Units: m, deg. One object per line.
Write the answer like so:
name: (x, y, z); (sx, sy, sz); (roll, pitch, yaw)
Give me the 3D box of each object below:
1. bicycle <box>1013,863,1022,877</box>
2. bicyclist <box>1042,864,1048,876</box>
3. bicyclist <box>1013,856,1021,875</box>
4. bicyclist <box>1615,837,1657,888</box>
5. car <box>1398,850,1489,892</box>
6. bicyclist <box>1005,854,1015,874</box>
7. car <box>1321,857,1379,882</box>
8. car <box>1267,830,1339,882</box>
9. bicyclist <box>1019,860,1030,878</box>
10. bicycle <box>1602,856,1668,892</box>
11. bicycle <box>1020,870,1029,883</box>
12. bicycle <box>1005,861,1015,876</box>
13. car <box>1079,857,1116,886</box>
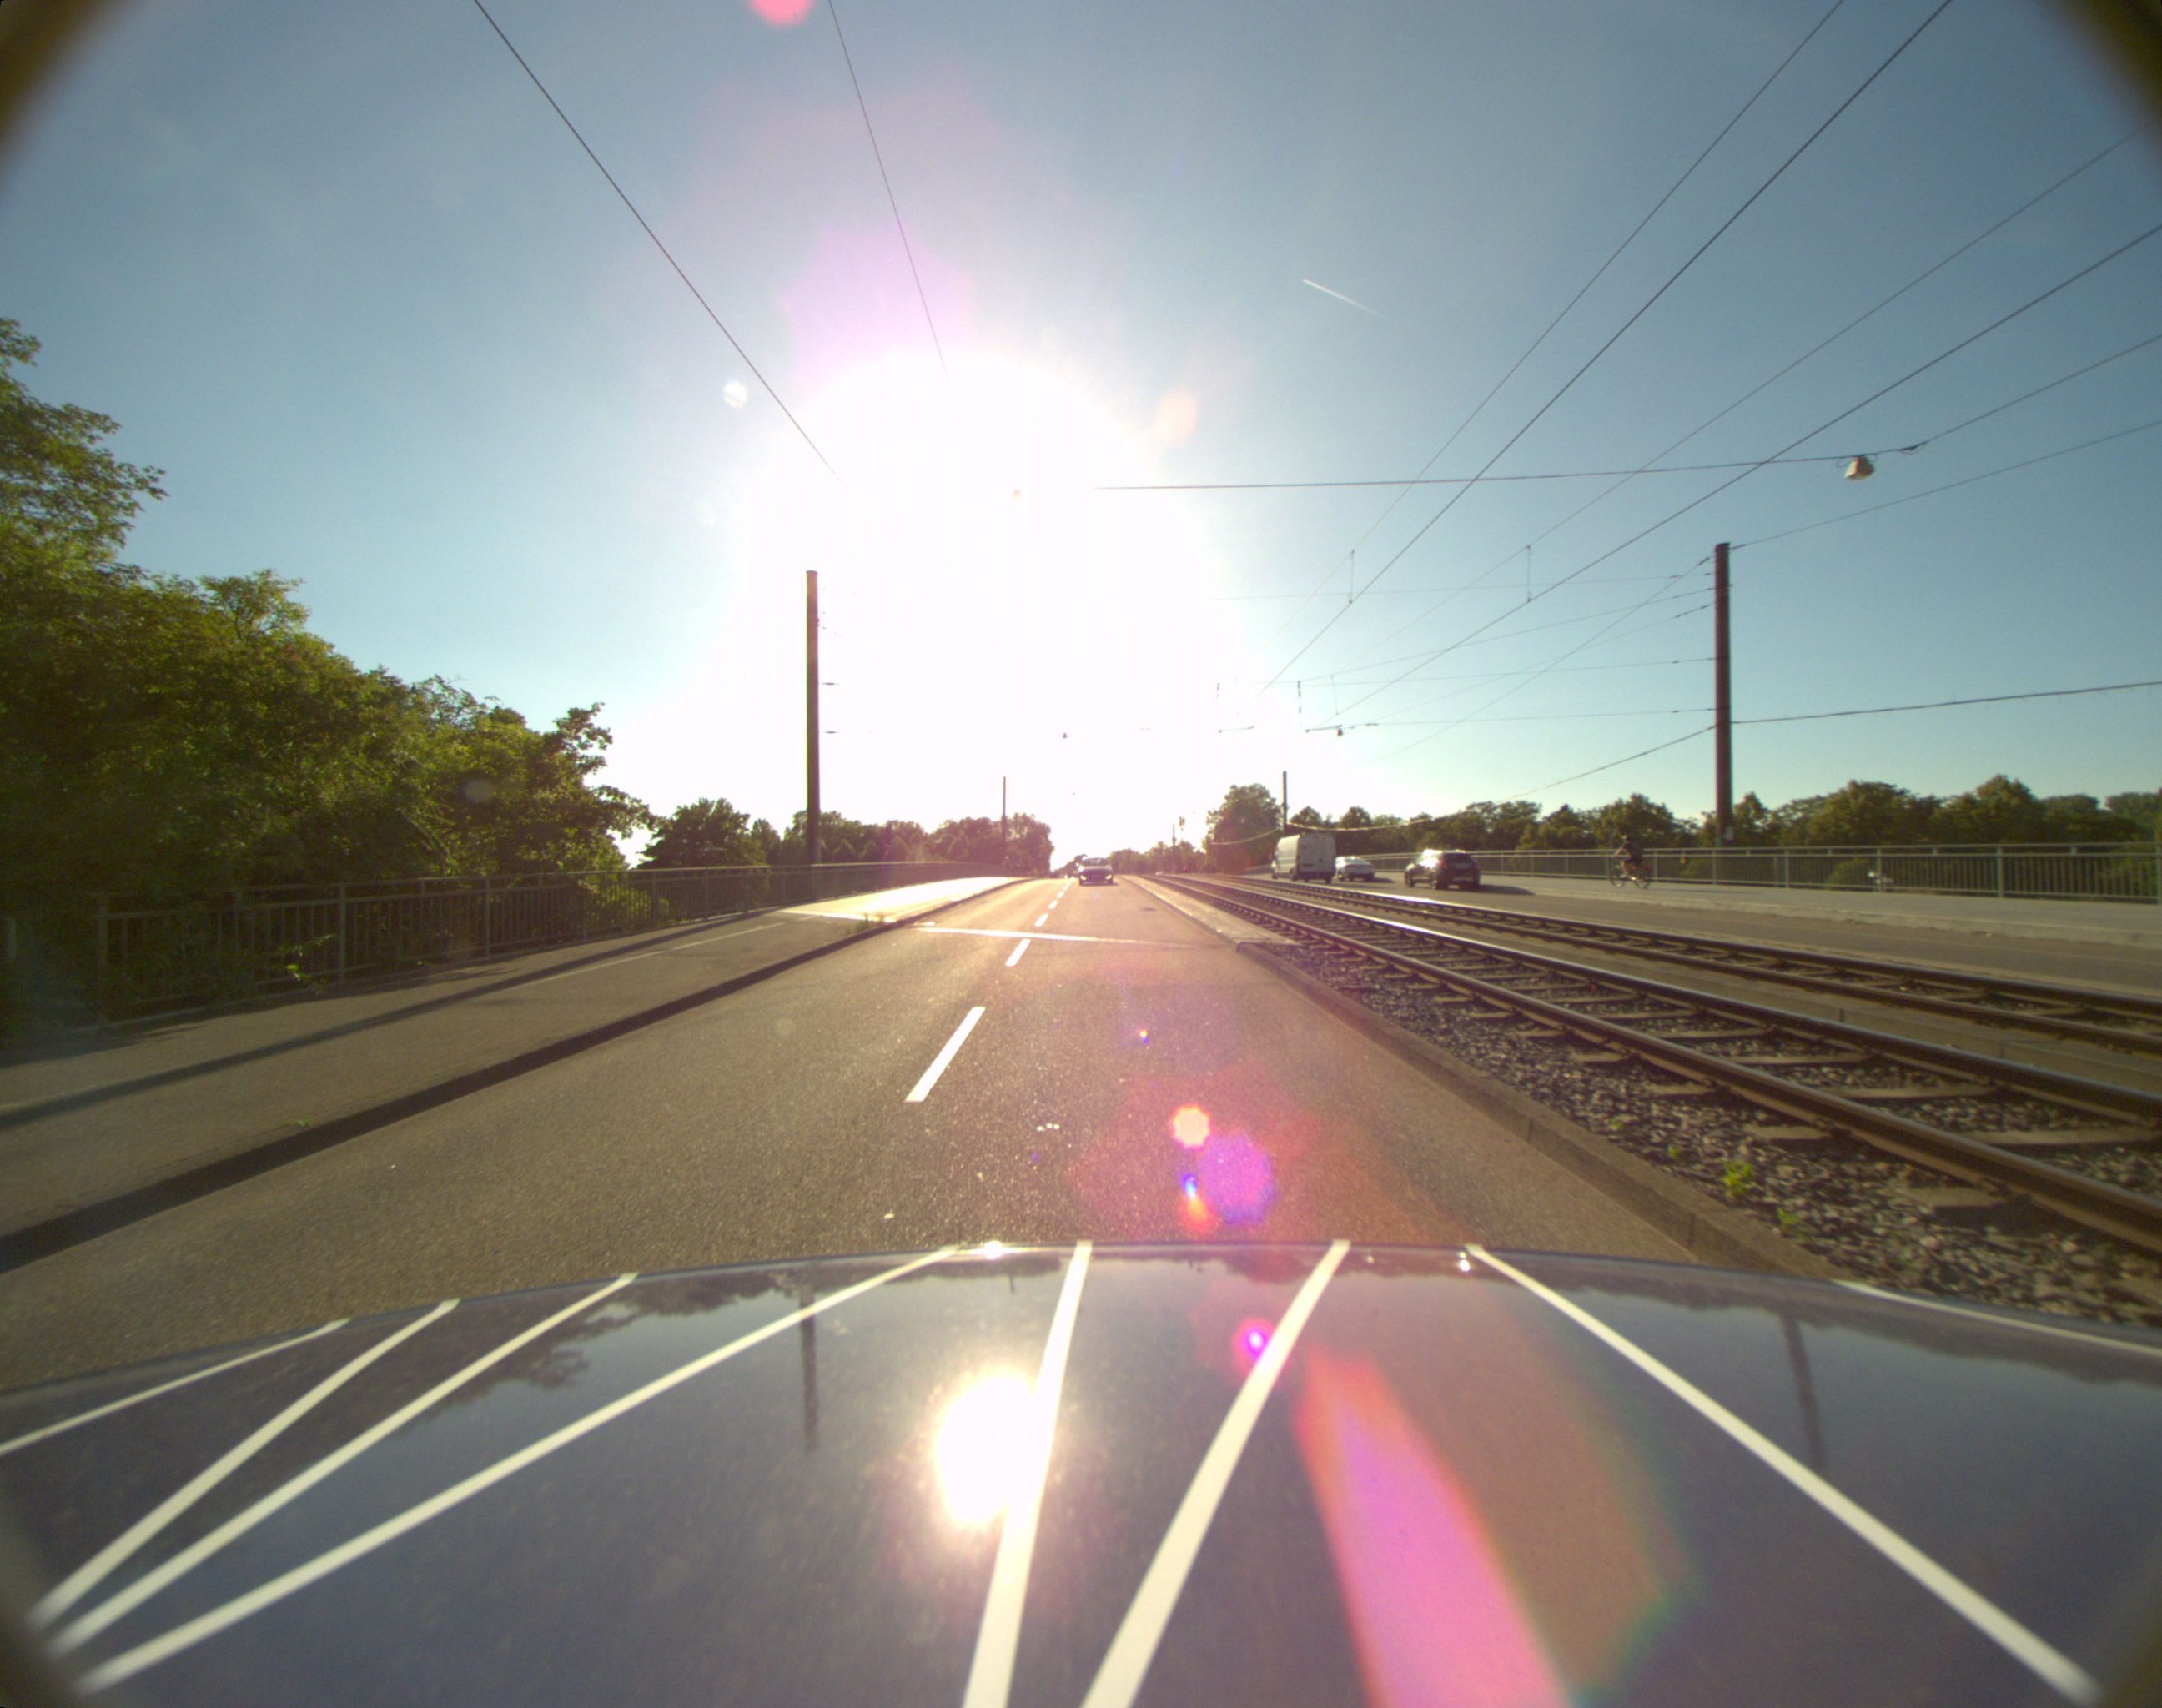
bicycle: (-5.437, 1.392, 65.089); (0.626, 1.115, 2.042); (-2, -1, 0)
bicyclist: (-5.166, 2.287, 110.124); (0.733, 1.679, 1.202); (-4, -2, -3)
bicyclist: (-5.485, 0.982, 65.079); (0.626, 1.583, 0.931); (-2, -1, 0)
bicyclist: (18.388, 0.282, 25.208); (0.681, 1.617, 0.890); (-3, 0, 1)
car: (15.432, 0.703, 32.623); (1.784, 1.640, 4.447); (1, -1, 1)
bicyclist: (-5.667, 0.810, 60.520); (0.627, 1.499, 1.006); (-1, -2, -1)
car: (15.557, 0.845, 44.232); (1.688, 1.348, 4.920); (1, 0, 1)
car: (11.942, 0.130, 41.345); (2.092, 2.577, 6.041); (-1, 0, 0)
bicyclist: (-5.157, 1.372, 69.393); (0.814, 1.552, 0.897); (-2, -2, 0)
bicycle: (18.411, 0.646, 25.317); (0.681, 1.091, 2.100); (-3, 0, 1)
bicycle: (-5.149, 2.030, 69.348); (0.685, 1.115, 2.217); (-2, -3, 0)
bicycle: (-5.668, 1.148, 60.550); (0.627, 1.115, 2.260); (-1, -2, -1)
car: (0.786, 0.917, 38.735); (1.801, 1.345, 4.001); (0, -2, 0)
